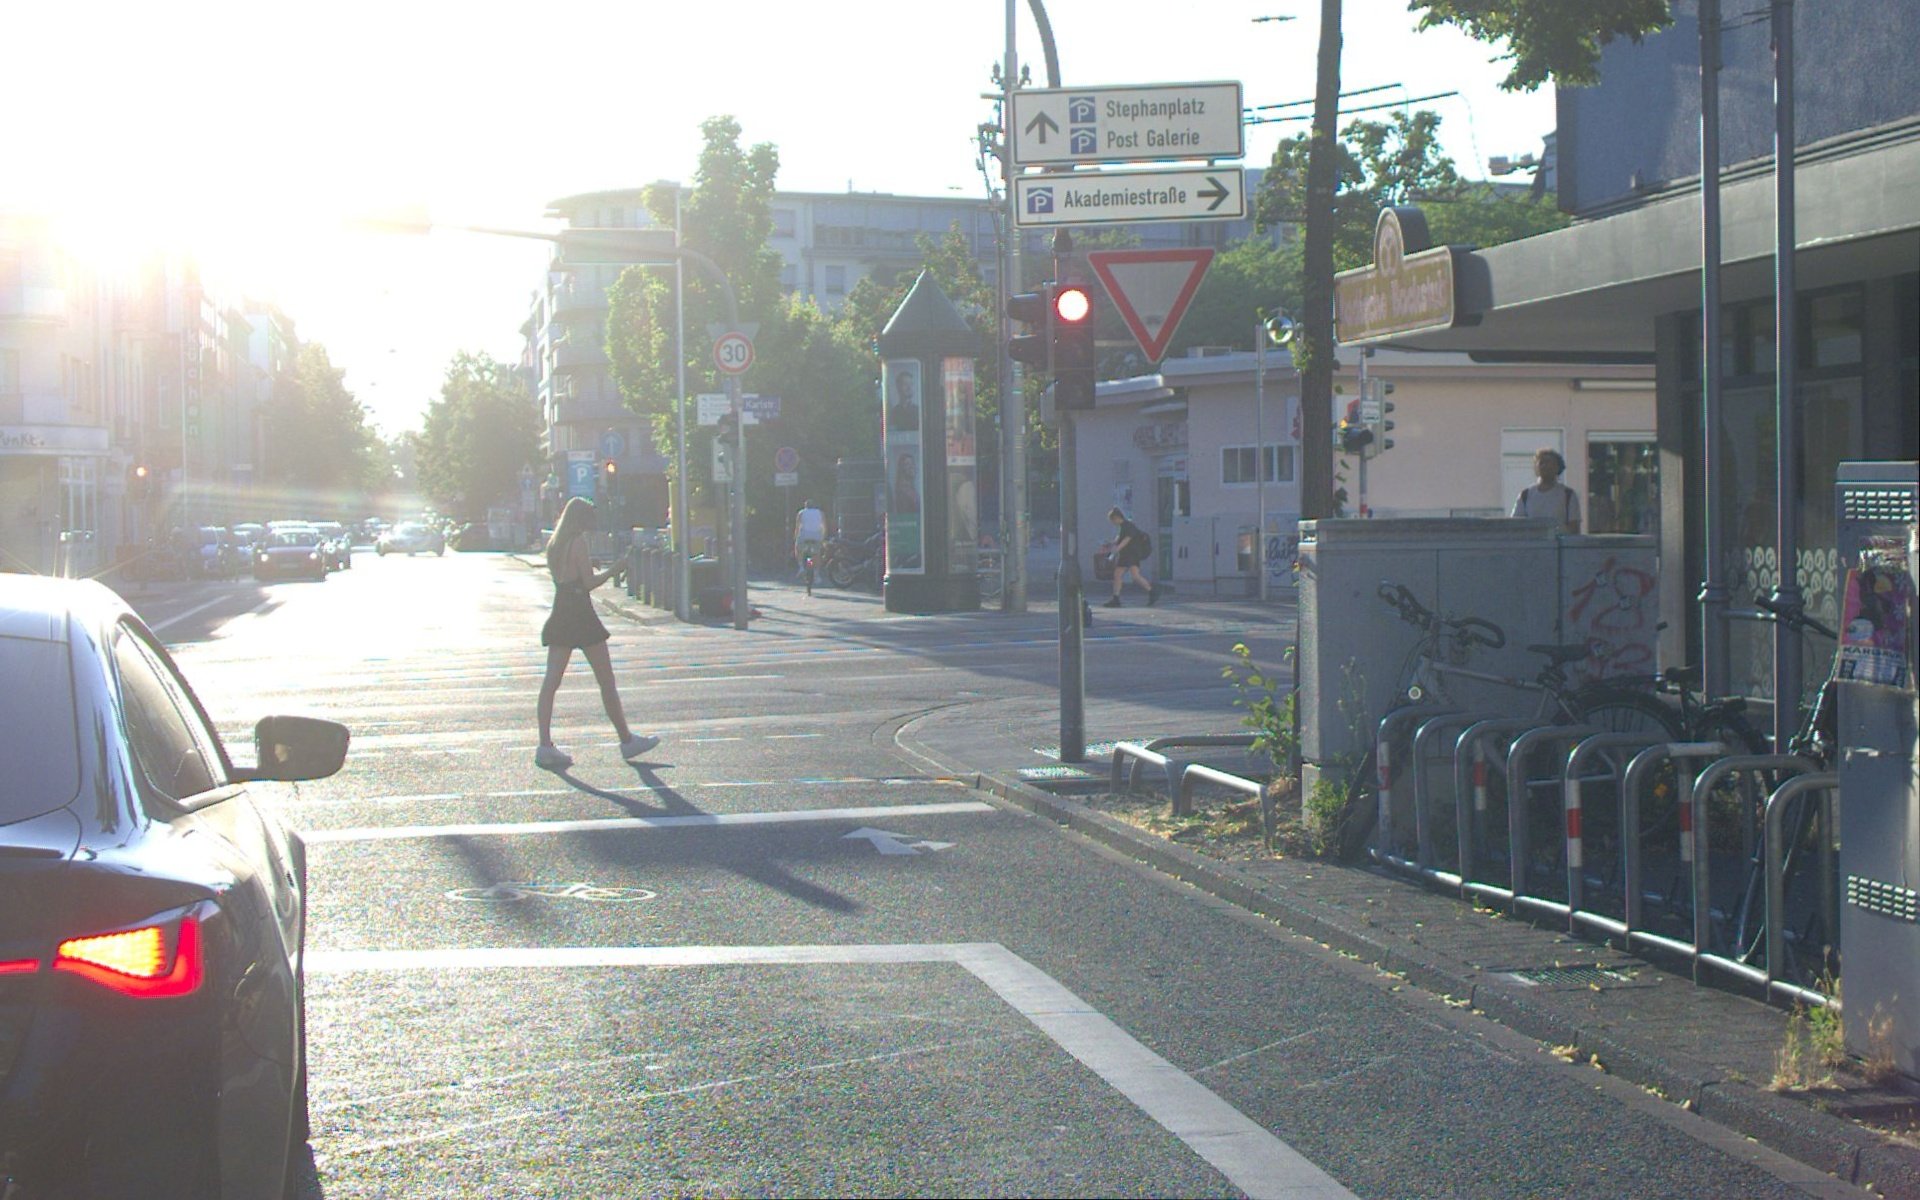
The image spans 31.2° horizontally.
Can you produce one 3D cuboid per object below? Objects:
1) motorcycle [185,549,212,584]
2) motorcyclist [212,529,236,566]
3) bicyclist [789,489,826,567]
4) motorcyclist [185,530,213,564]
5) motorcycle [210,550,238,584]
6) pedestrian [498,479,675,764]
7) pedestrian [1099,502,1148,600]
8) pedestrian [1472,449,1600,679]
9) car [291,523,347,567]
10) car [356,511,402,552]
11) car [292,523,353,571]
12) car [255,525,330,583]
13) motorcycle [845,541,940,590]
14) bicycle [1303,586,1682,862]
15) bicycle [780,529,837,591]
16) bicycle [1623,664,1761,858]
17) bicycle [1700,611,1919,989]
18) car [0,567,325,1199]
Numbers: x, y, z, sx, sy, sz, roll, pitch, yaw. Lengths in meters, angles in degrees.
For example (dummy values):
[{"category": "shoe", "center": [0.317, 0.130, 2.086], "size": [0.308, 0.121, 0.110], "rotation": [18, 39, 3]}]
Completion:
[{"category": "motorcycle", "center": [-20.847, -0.925, 94.150], "size": [0.575, 0.912, 2.201], "rotation": [1, 1, -8]}, {"category": "motorcyclist", "center": [-20.049, -1.435, 93.643], "size": [0.575, 0.992, 0.703], "rotation": [1, 1, -8]}, {"category": "bicyclist", "center": [-2.912, -1.368, 65.638], "size": [0.550, 1.476, 0.723], "rotation": [0, 0, -17]}, {"category": "motorcyclist", "center": [-20.843, -1.456, 94.162], "size": [0.575, 0.912, 2.201], "rotation": [1, 1, -8]}, {"category": "motorcycle", "center": [-20.067, -0.908, 93.752], "size": [0.575, 0.912, 2.201], "rotation": [1, 1, -8]}, {"category": "pedestrian", "center": [-2.485, 0.134, 22.855], "size": [1.001, 1.854, 0.640], "rotation": [0, 1, -28]}, {"category": "pedestrian", "center": [2.567, -0.775, 54.021], "size": [0.733, 1.524, 0.472], "rotation": [1, 1, 2]}, {"category": "pedestrian", "center": [4.708, -0.300, 28.121], "size": [0.835, 1.835, 0.679], "rotation": [-1, 1, -8]}, {"category": "car", "center": [-23.095, -2.003, 123.989], "size": [1.817, 1.514, 4.001], "rotation": [-1, 2, -8]}, {"category": "car", "center": [-26.584, -3.144, 157.320], "size": [1.771, 1.842, 4.001], "rotation": [-1, 2, -6]}, {"category": "car", "center": [-20.921, -1.757, 112.927], "size": [1.817, 1.514, 4.001], "rotation": [-1, 2, -8]}, {"category": "car", "center": [-18.352, -1.291, 94.625], "size": [1.817, 1.514, 4.001], "rotation": [-1, 2, -8]}, {"category": "motorcycle", "center": [-1.339, -0.684, 67.898], "size": [1.668, 0.935, 0.856], "rotation": [-1, 2, -19]}, {"category": "bicycle", "center": [2.347, 0.537, 15.162], "size": [1.612, 1.167, 0.318], "rotation": [-1, 1, -6]}, {"category": "bicycle", "center": [-2.897, -0.759, 65.588], "size": [0.550, 1.155, 2.145], "rotation": [0, 1, -17]}, {"category": "bicycle", "center": [3.262, 0.706, 15.373], "size": [0.249, 0.793, 1.116], "rotation": [1, 1, -7]}, {"category": "bicycle", "center": [3.221, 0.656, 11.391], "size": [1.440, 1.216, 0.383], "rotation": [1, 1, -7]}, {"category": "car", "center": [-2.114, 0.677, 6.493], "size": [1.736, 1.424, 4.225], "rotation": [0, 1, -10]}]
